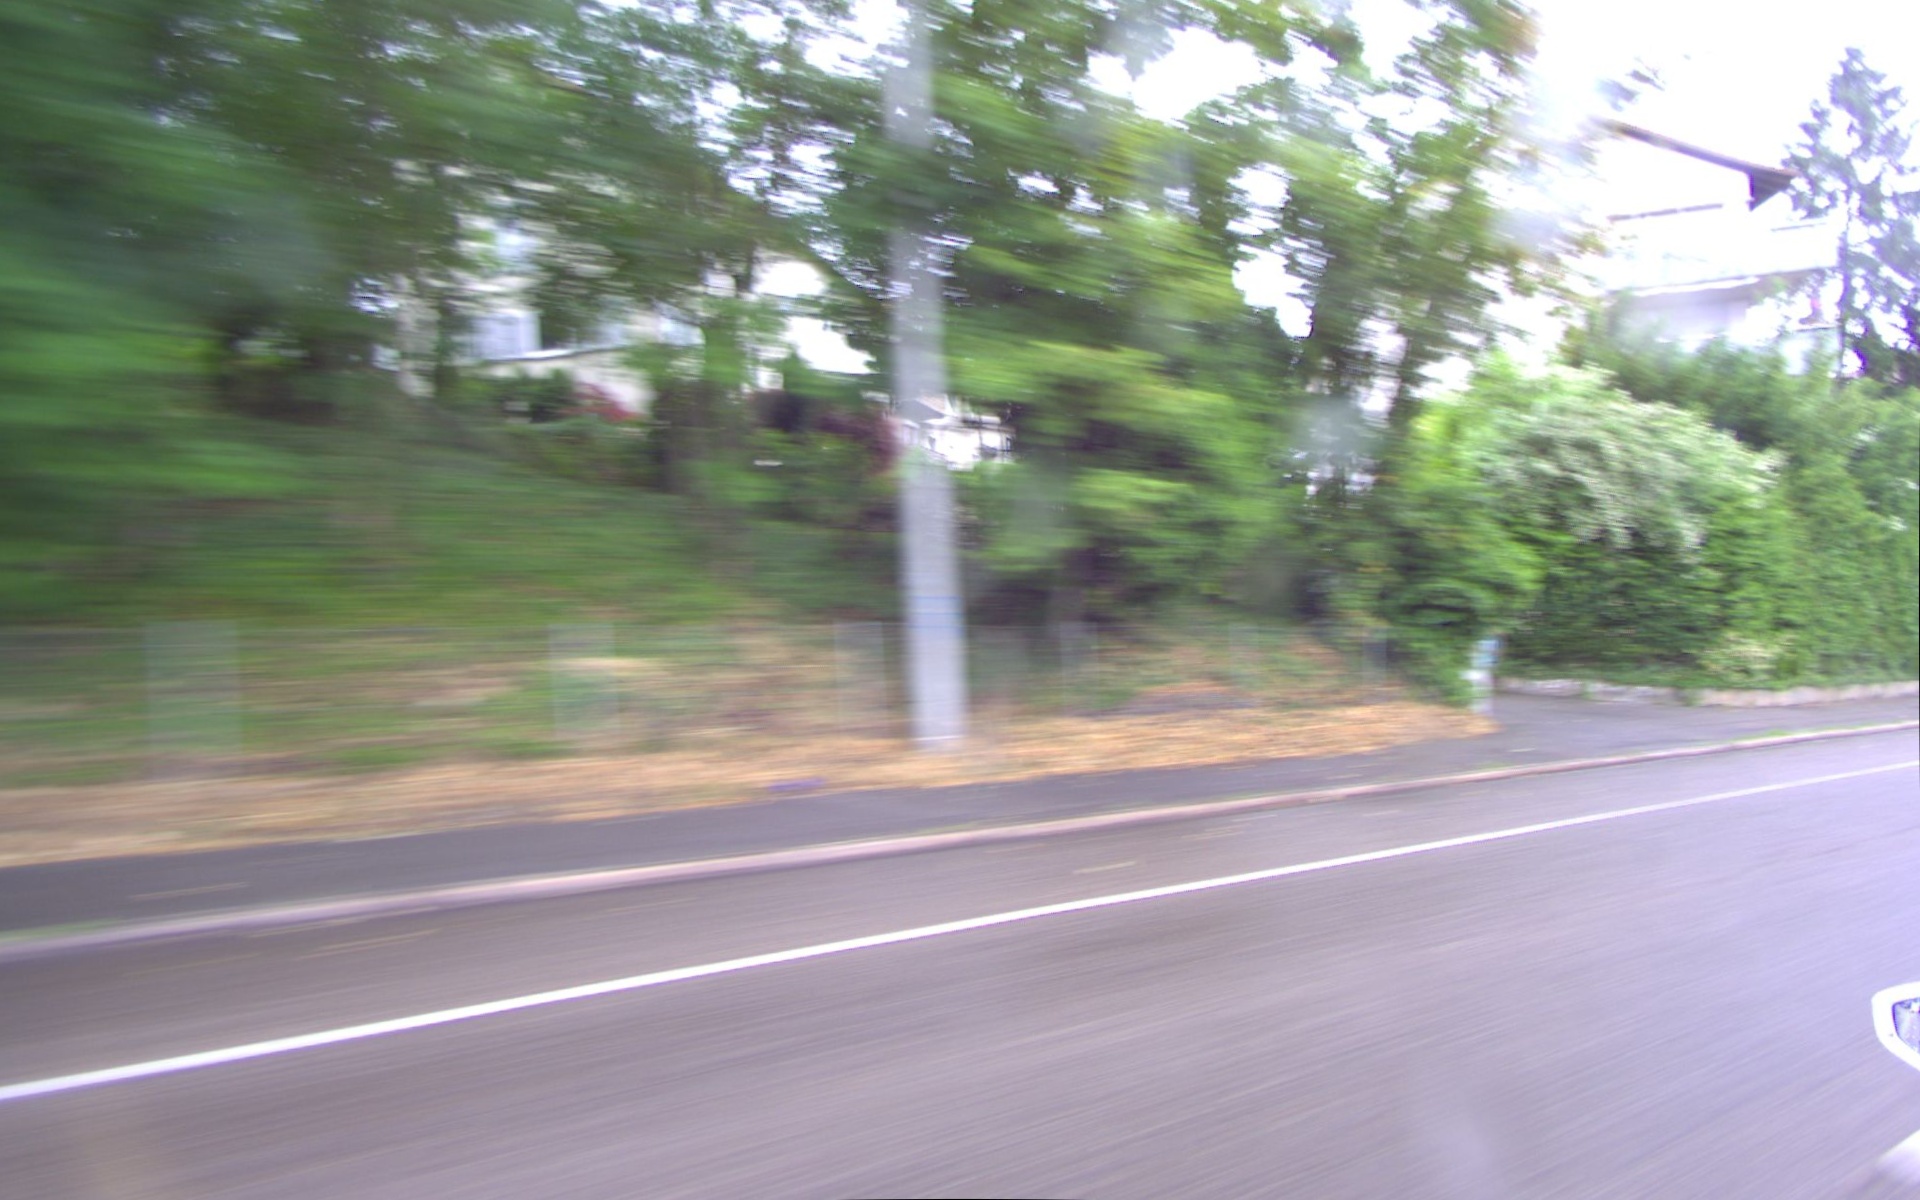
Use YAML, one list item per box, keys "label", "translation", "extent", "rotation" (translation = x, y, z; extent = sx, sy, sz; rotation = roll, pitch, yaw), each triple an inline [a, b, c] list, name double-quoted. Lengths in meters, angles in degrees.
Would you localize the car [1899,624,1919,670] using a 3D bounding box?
- label: "car"
  translation: [31.319, 1.503, 30.678]
  extent: [1.700, 1.424, 3.606]
  rotation: [2, -1, -36]
